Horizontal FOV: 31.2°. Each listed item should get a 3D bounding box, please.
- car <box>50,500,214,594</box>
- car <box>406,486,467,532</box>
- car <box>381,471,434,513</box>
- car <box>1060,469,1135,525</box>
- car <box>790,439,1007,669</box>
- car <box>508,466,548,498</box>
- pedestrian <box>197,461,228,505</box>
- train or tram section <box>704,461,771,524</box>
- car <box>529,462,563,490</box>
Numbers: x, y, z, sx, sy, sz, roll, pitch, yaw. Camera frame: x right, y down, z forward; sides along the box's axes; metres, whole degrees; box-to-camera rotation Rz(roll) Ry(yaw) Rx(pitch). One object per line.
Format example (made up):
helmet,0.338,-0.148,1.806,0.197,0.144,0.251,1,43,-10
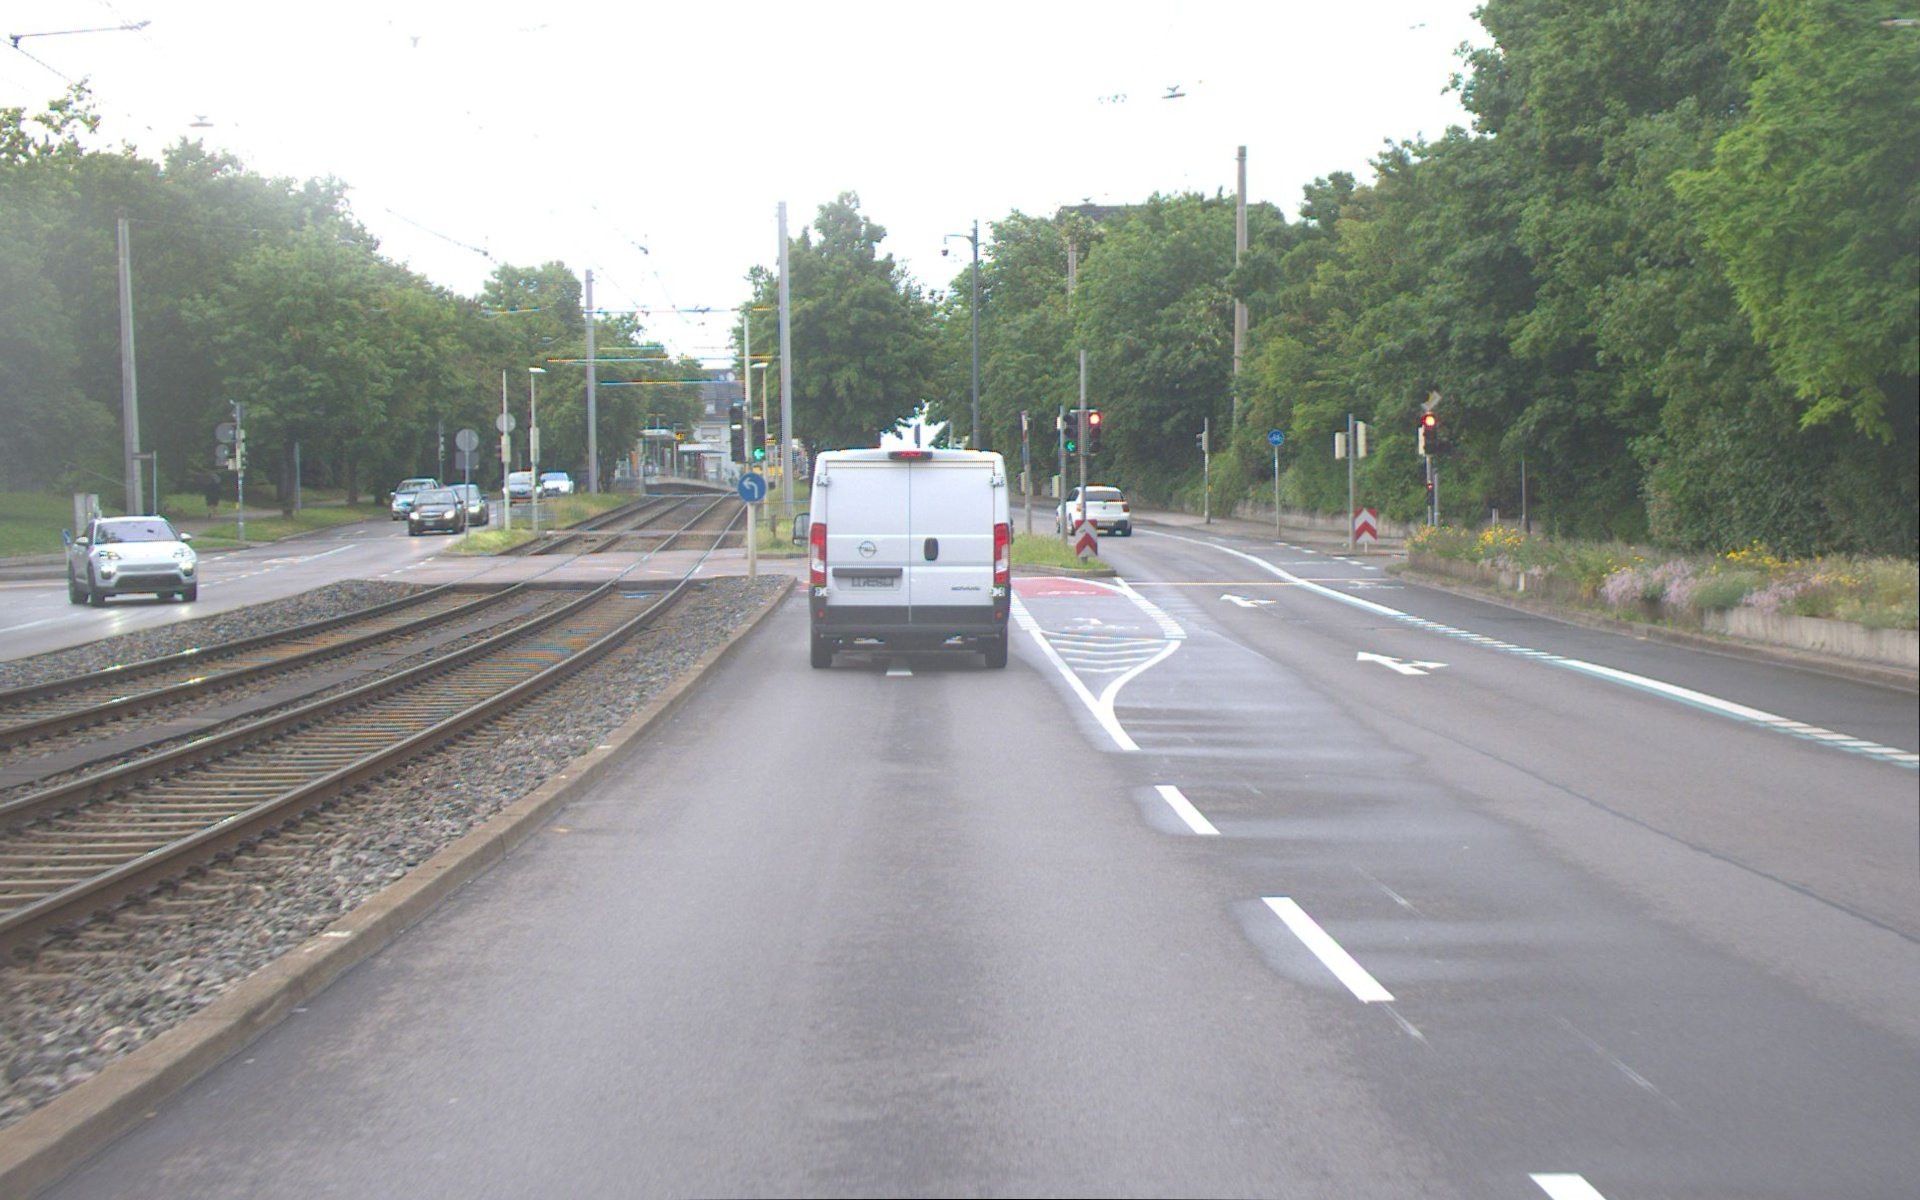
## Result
car,-15.775,-1.015,65.352,1.993,1.643,4.760,-4,2,-26
car,-17.140,-3.001,112.679,1.601,1.397,3.793,1,3,-3
car,-22.374,-4.381,139.225,1.719,1.548,3.864,-1,3,-4
car,3.994,-3.011,100.036,1.703,1.516,3.793,1,3,-5
car,-0.706,-0.533,36.655,2.146,2.275,5.064,0,2,-2
car,-20.306,-5.545,161.625,1.601,1.397,3.793,1,3,-3
pedestrian,-27.242,-4.274,125.325,1.013,1.595,1.040,-1,3,-8
train or tram section,-15.137,-7.292,234.862,4.060,3.881,15.041,1,0,-2
car,-22.186,-6.635,184.286,1.601,1.397,3.793,1,3,-3
